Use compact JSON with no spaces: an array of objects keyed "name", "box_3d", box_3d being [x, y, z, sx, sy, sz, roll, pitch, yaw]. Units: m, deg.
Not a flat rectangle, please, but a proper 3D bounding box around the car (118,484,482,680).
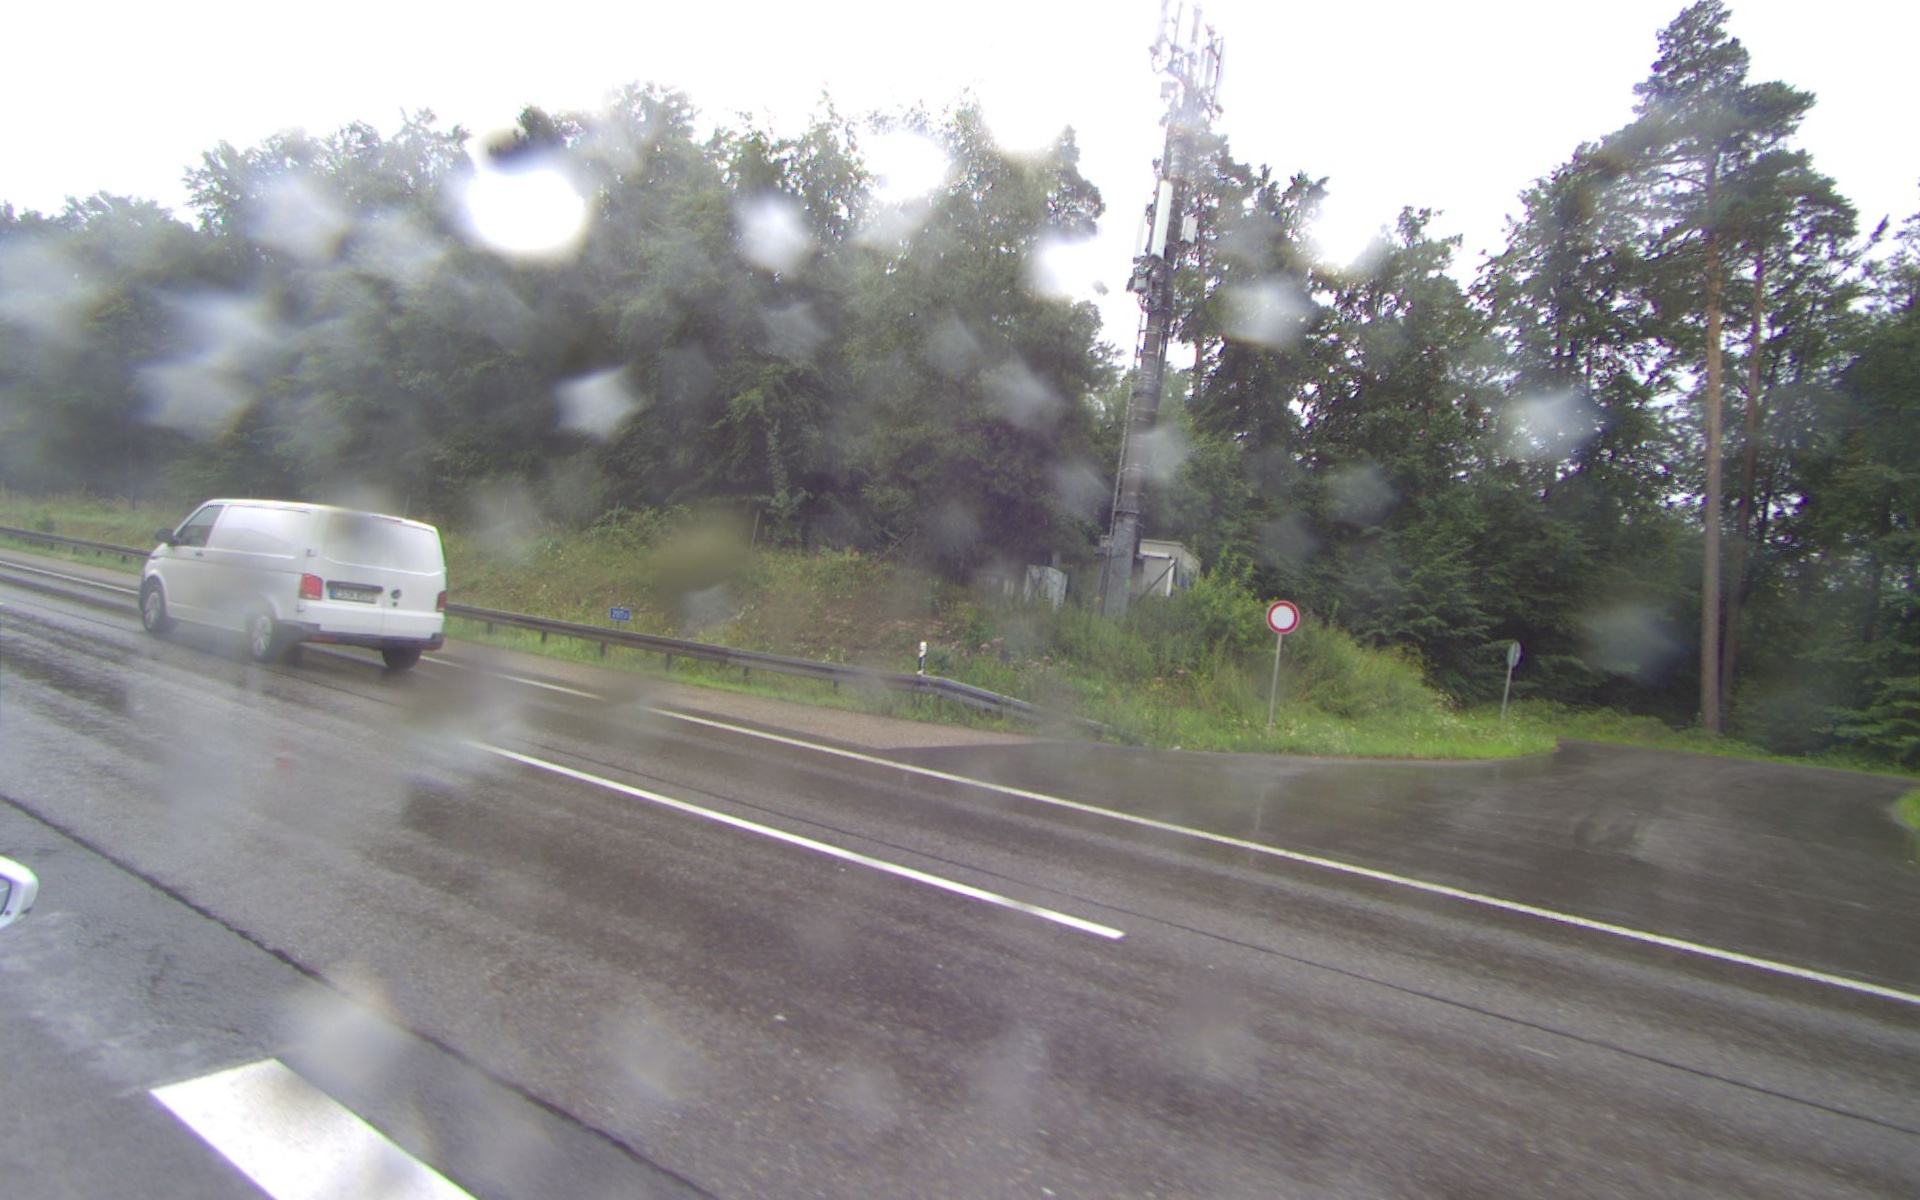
[{"name":"car","box_3d":[-8.845,-0.274,13.406,4.686,1.943,1.994,7,-1,30]}]
